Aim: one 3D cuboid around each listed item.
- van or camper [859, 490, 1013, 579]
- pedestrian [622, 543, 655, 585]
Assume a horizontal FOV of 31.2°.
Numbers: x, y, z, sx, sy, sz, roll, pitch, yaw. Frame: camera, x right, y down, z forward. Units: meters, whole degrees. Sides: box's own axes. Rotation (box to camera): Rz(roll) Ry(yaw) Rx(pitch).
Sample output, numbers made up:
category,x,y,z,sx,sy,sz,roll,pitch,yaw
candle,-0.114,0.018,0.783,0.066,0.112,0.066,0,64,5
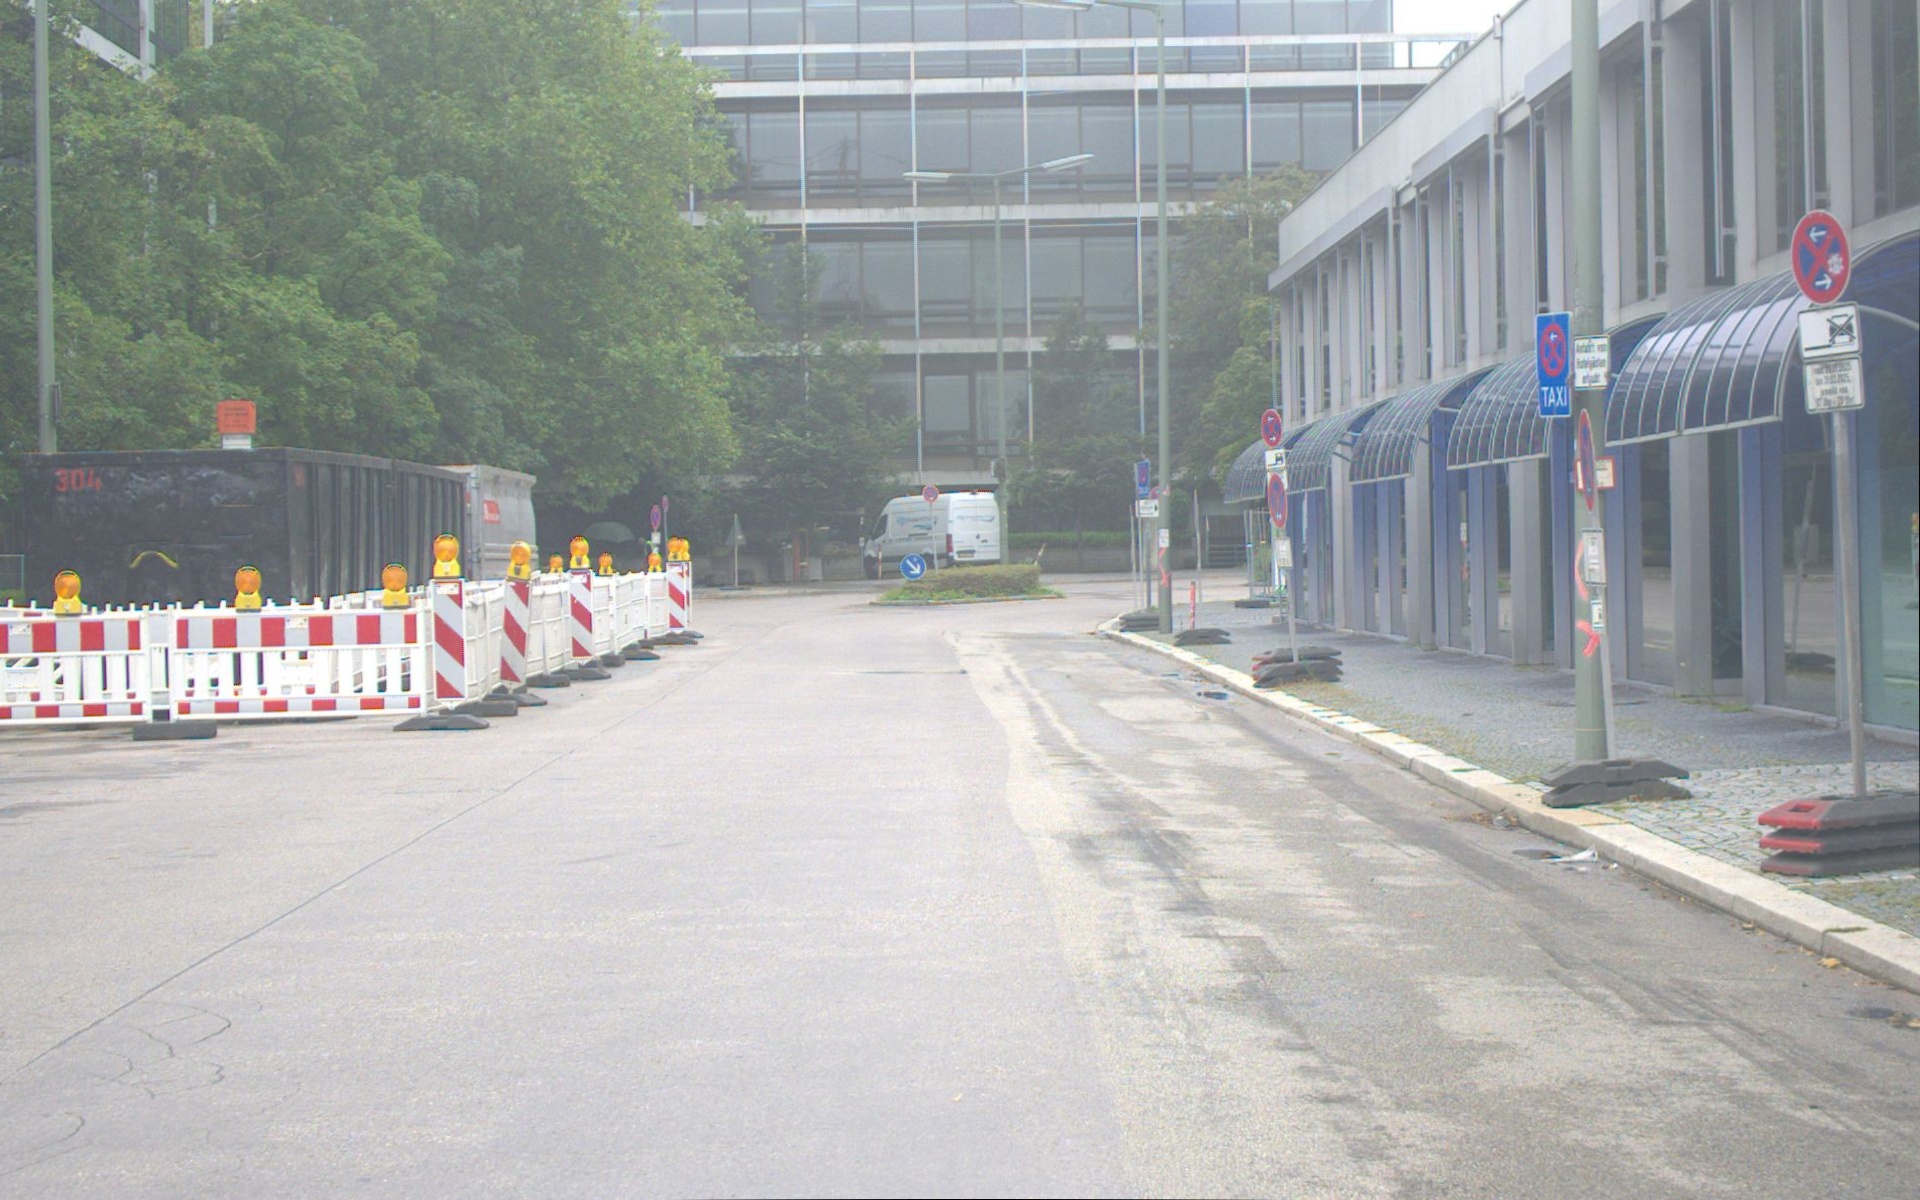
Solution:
category,x,y,z,sx,sy,sz,roll,pitch,yaw
van or camper,-0.795,-2.030,107.551,2.155,2.572,6.540,-1,0,-26
pedestrian,-9.853,-1.113,105.384,0.926,1.273,0.542,0,1,2
